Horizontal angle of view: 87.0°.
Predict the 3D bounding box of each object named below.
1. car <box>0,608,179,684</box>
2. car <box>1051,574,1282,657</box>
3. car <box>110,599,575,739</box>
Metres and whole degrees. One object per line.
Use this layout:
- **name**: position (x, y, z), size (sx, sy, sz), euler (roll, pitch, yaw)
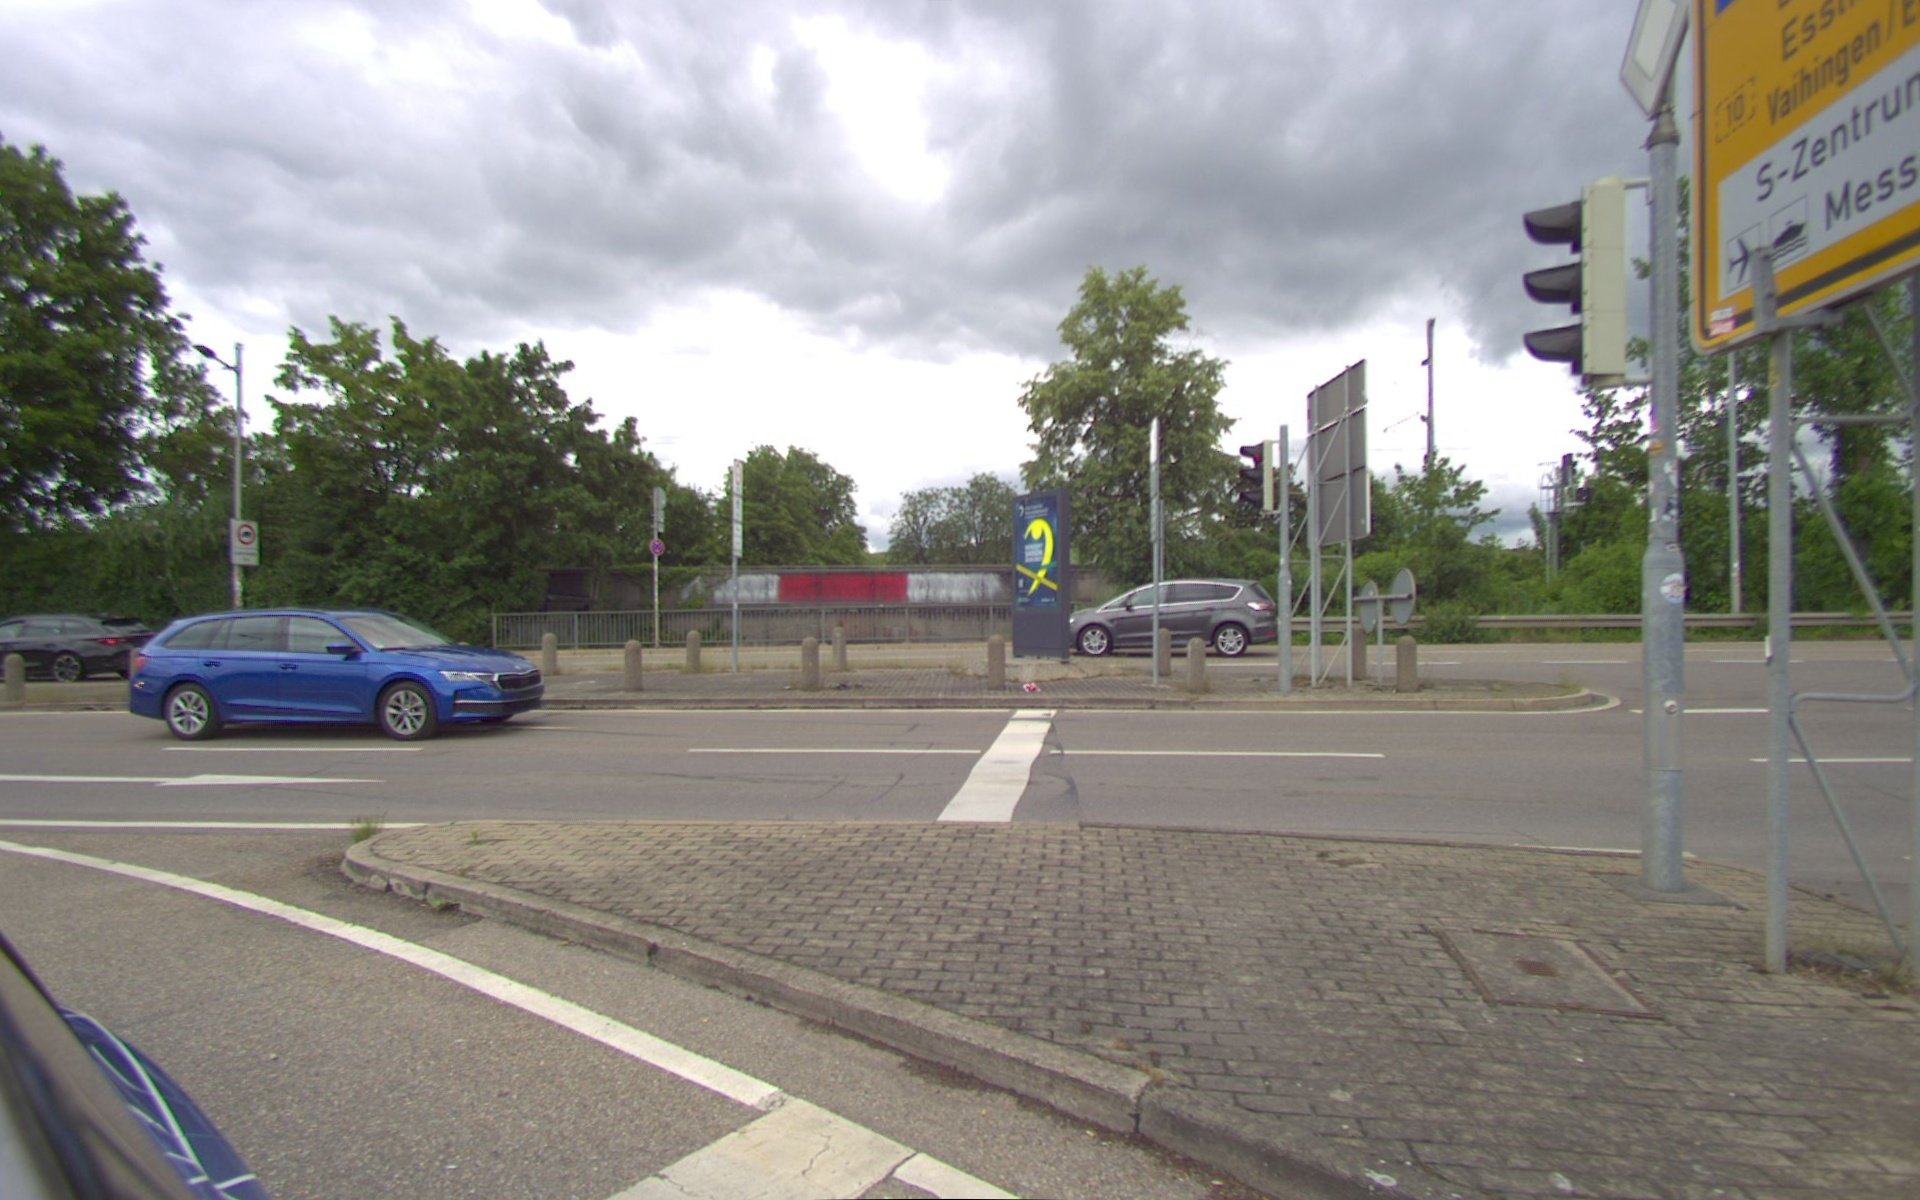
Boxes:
- **car**: position (-19.730, 0.983, 21.643), size (4.555, 1.468, 1.956), euler (-2, 0, 0)
- **car**: position (4.469, 0.350, 21.812), size (4.655, 1.583, 1.944), euler (-2, 0, 18)
- **car**: position (-7.095, 0.771, 11.847), size (4.527, 1.427, 1.839), euler (-2, 0, 9)
